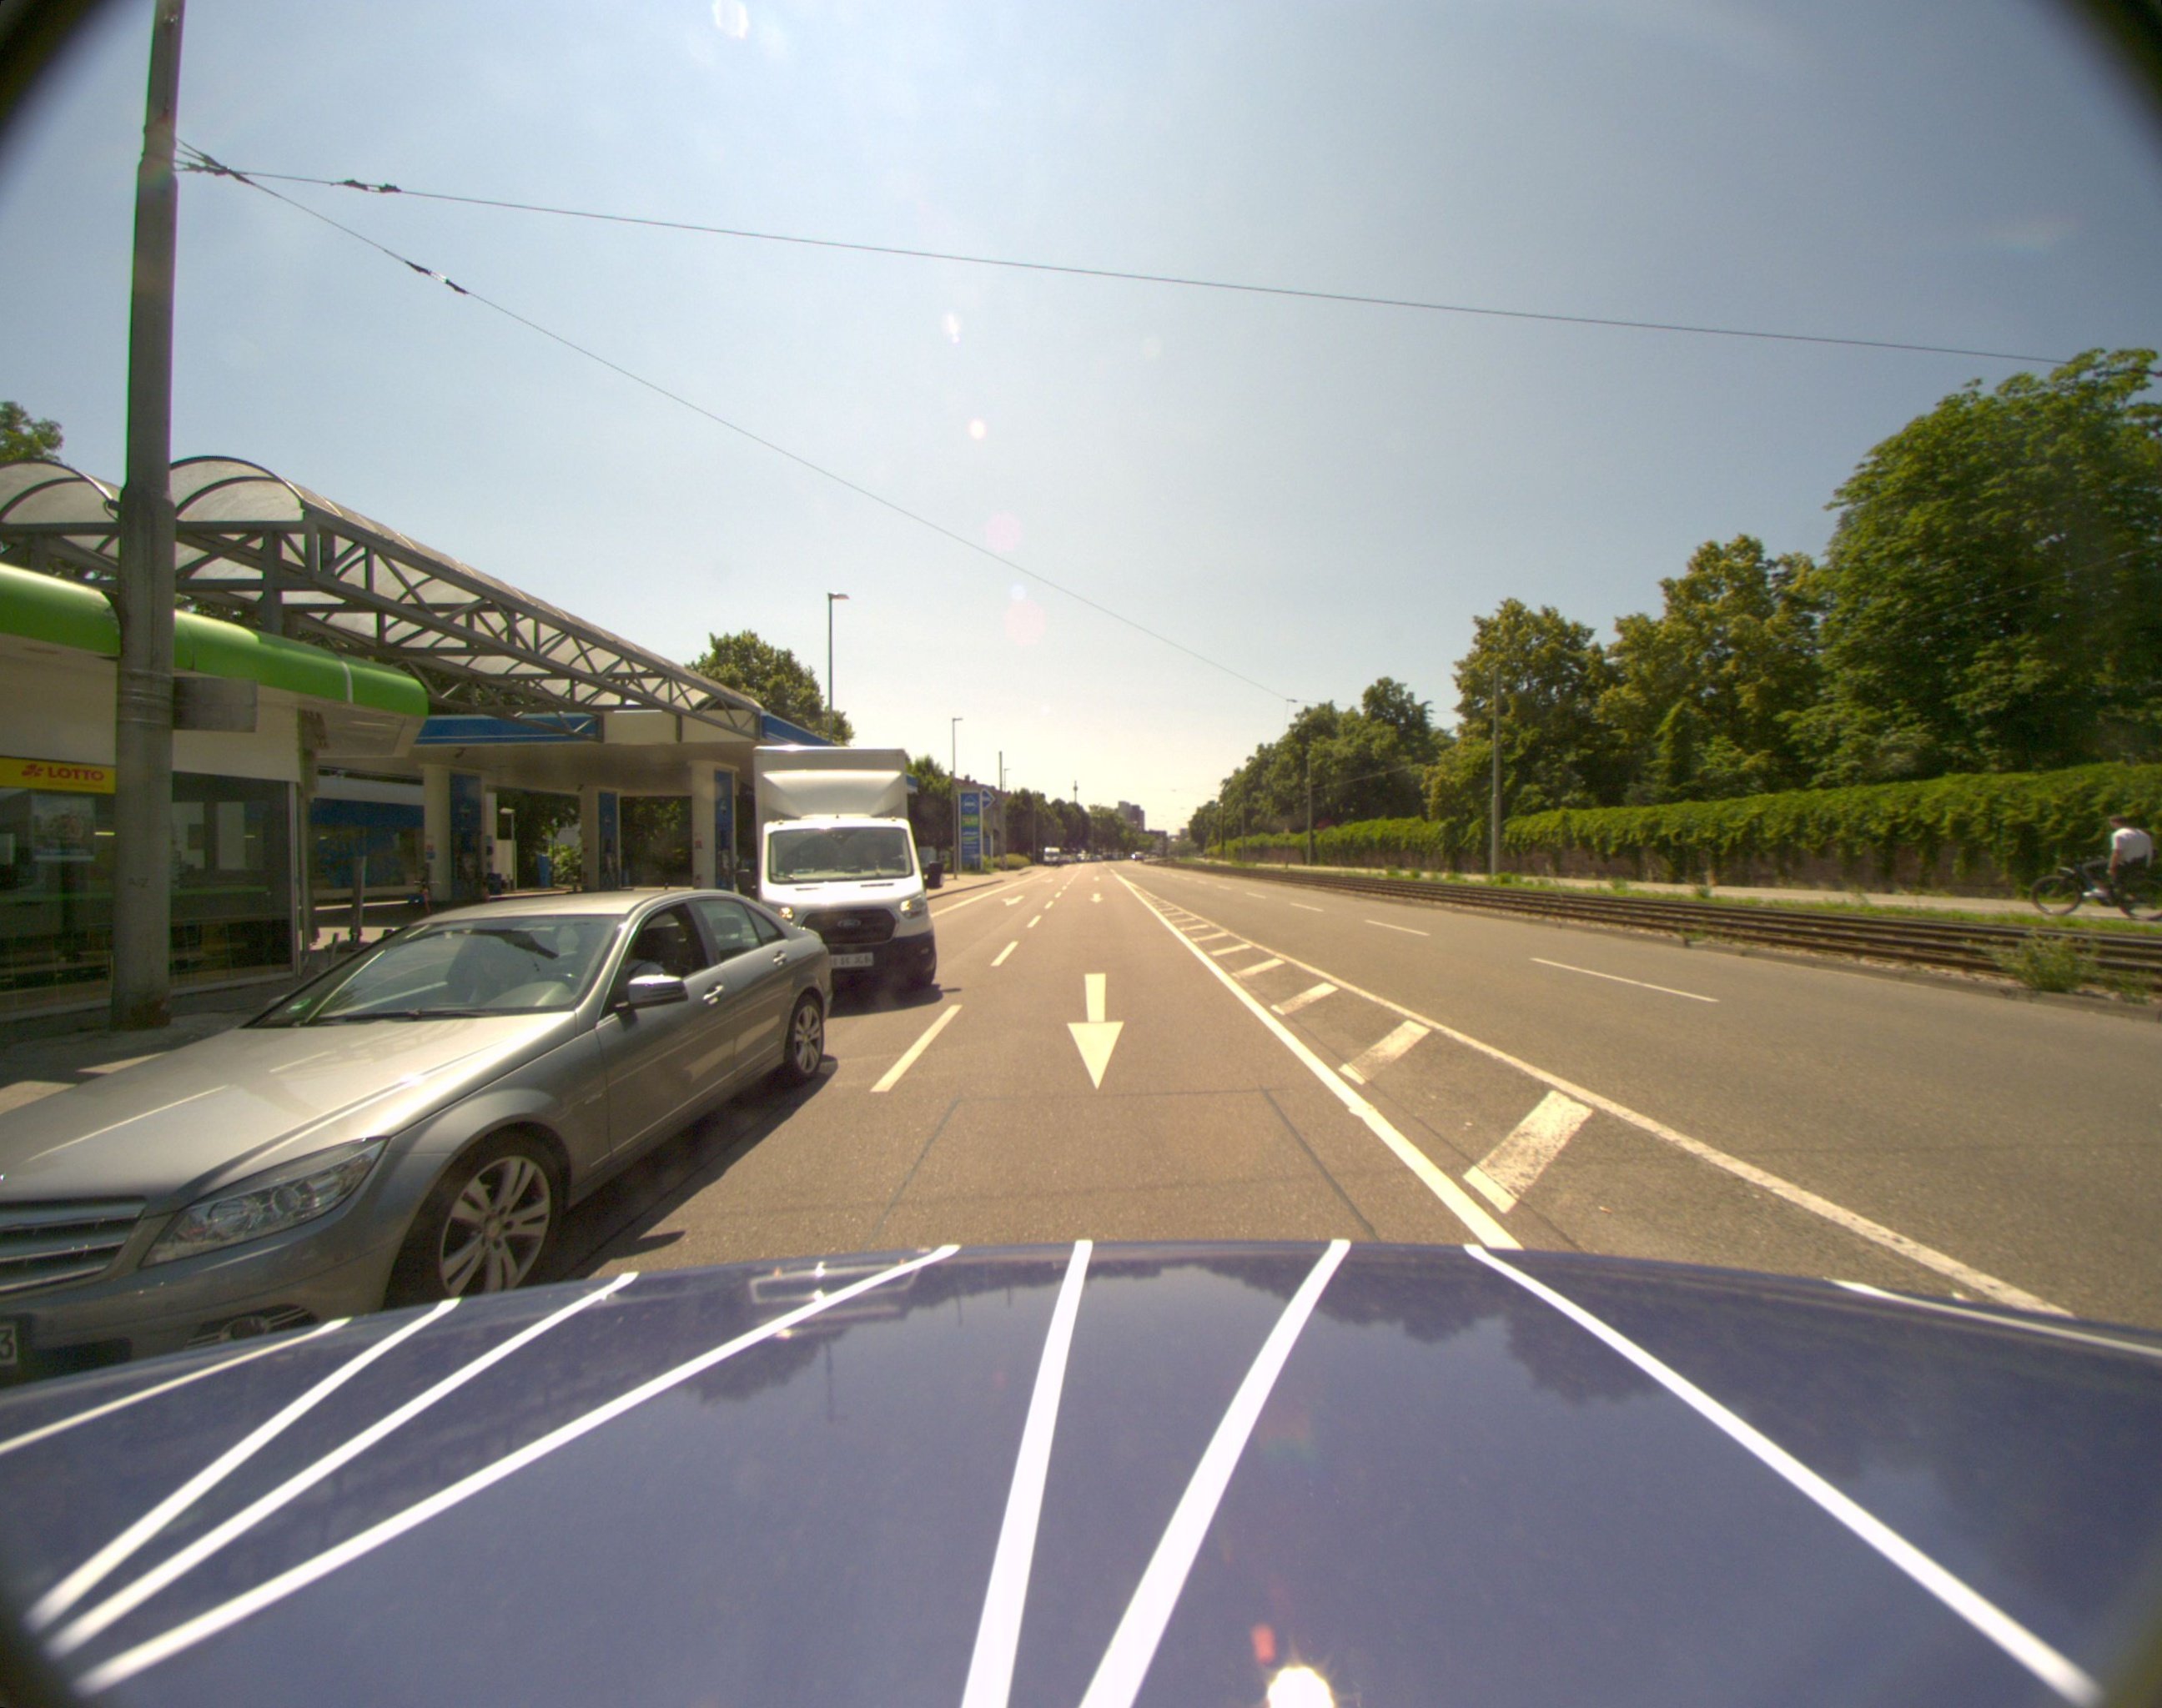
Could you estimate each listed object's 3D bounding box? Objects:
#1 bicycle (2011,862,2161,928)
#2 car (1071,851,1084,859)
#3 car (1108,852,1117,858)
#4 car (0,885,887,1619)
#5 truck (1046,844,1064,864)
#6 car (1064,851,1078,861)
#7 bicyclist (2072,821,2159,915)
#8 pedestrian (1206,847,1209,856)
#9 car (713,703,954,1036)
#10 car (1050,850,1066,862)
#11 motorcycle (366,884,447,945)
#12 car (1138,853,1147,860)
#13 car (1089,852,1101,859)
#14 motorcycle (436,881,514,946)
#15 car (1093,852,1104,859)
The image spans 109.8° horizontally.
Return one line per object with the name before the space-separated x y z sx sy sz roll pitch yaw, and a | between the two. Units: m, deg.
bicycle | 18.325 0.704 13.744 0.617 1.049 1.978 -2 1 2
car | -0.620 0.172 139.196 1.912 1.488 4.001 -2 1 4
car | 8.339 0.319 203.032 1.911 1.488 4.002 -2 1 10
car | -2.785 1.054 4.406 1.717 1.464 5.302 -3 0 2
truck | -3.441 -0.030 101.561 1.998 2.462 5.237 -2 1 1
car | -1.653 0.271 126.594 1.912 1.488 4.001 -2 1 4
bicyclist | 18.284 0.240 13.445 0.483 1.603 0.769 -2 1 1
pedestrian | 22.850 -0.420 137.196 0.453 1.655 0.302 -2 0 1
car | -3.902 0.137 11.995 2.232 3.316 8.622 -3 1 -19
car | -3.260 0.272 109.853 1.912 1.488 4.001 -2 1 4
motorcycle | -12.840 1.141 14.483 1.157 1.107 0.396 1 -1 -1
car | 13.656 0.546 169.137 1.801 1.488 3.965 -2 0 8
car | 3.176 0.374 171.976 1.911 1.488 4.002 -2 1 10
motorcycle | -11.563 1.128 14.520 1.157 1.203 0.364 1 -1 -1
car | 4.044 0.285 176.961 1.911 1.488 4.002 -2 1 10
